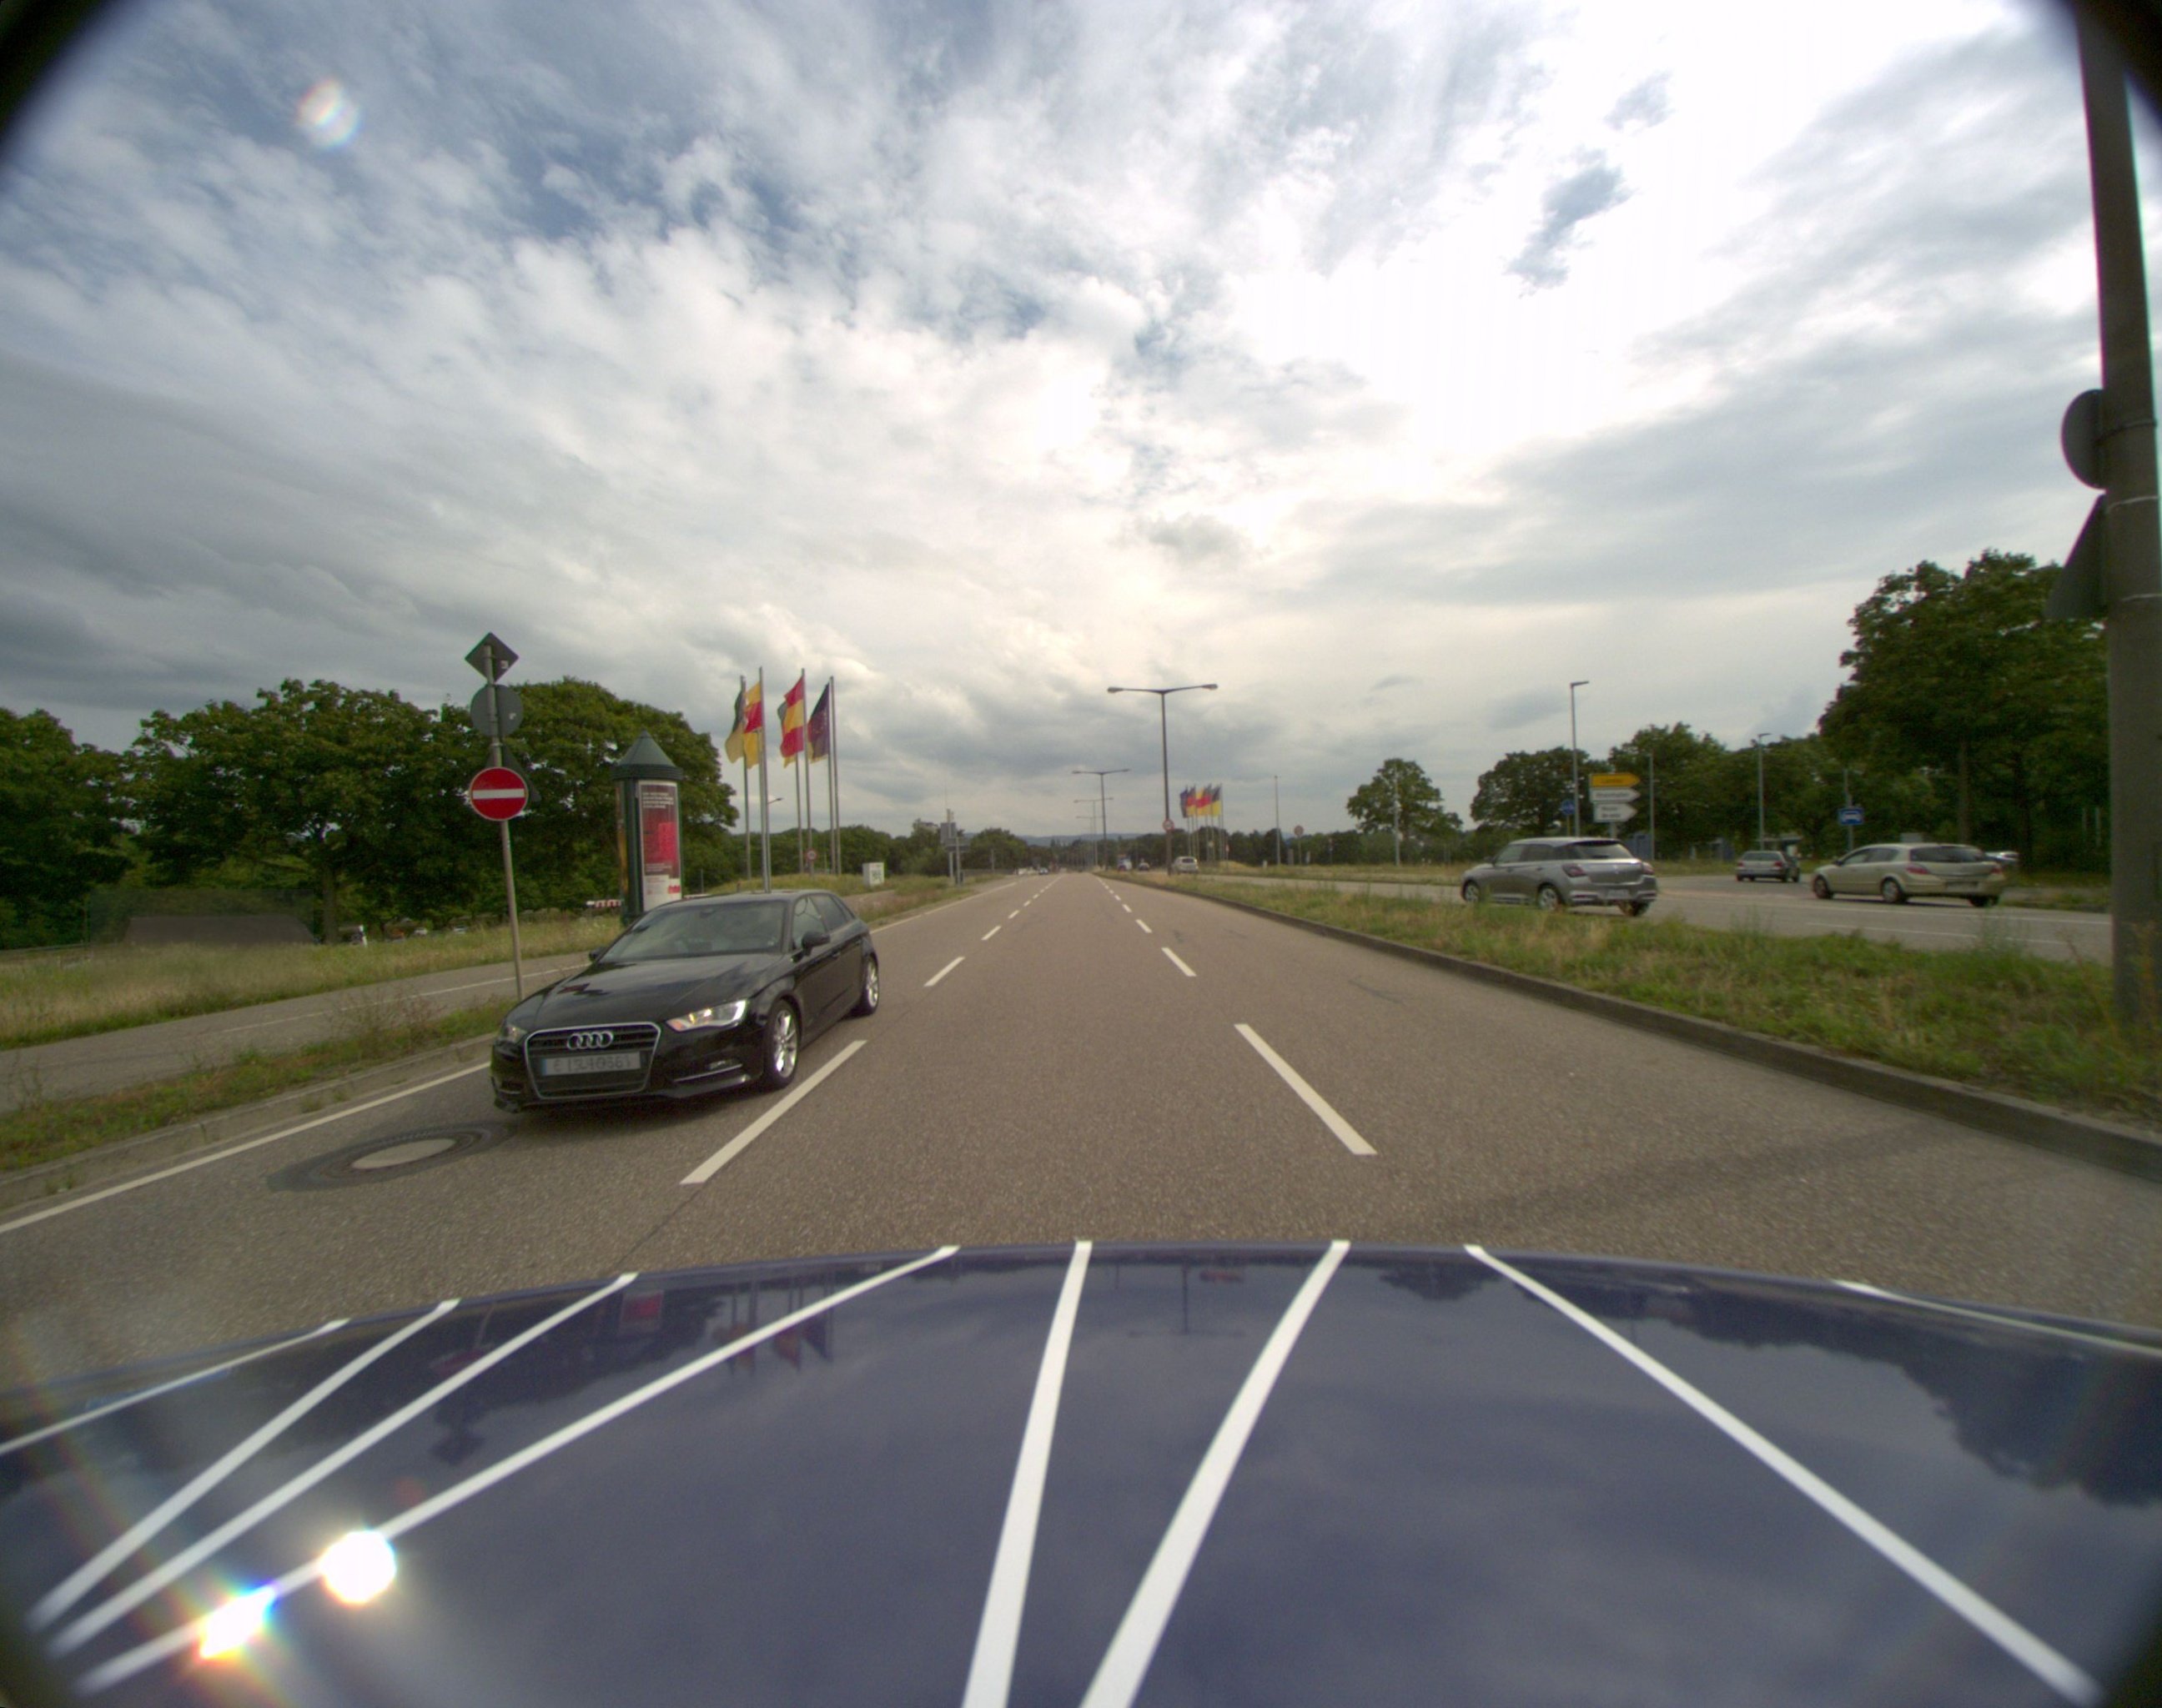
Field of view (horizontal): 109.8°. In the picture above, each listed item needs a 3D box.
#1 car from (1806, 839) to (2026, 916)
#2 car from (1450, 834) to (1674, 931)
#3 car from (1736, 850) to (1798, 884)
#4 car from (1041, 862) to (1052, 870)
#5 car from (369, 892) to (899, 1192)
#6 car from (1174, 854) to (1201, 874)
[{"bbox_3d":[19.658,0.501,18.174,1.820,1.598,3.903,2,0,19],"label":"car"},{"bbox_3d":[9.089,0.513,14.804,1.776,1.597,3.877,-2,-1,-2],"label":"car"},{"bbox_3d":[31.550,0.570,34.992,1.995,1.275,4.007,-4,0,42],"label":"car"},{"bbox_3d":[-7.337,2.556,162.494,1.998,1.518,4.000,-4,1,0],"label":"car"},{"bbox_3d":[-3.061,1.165,6.624,1.853,1.355,4.729,-4,0,-2],"label":"car"},{"bbox_3d":[9.504,0.842,67.991,1.776,1.598,3.875,-2,1,-2],"label":"car"}]
